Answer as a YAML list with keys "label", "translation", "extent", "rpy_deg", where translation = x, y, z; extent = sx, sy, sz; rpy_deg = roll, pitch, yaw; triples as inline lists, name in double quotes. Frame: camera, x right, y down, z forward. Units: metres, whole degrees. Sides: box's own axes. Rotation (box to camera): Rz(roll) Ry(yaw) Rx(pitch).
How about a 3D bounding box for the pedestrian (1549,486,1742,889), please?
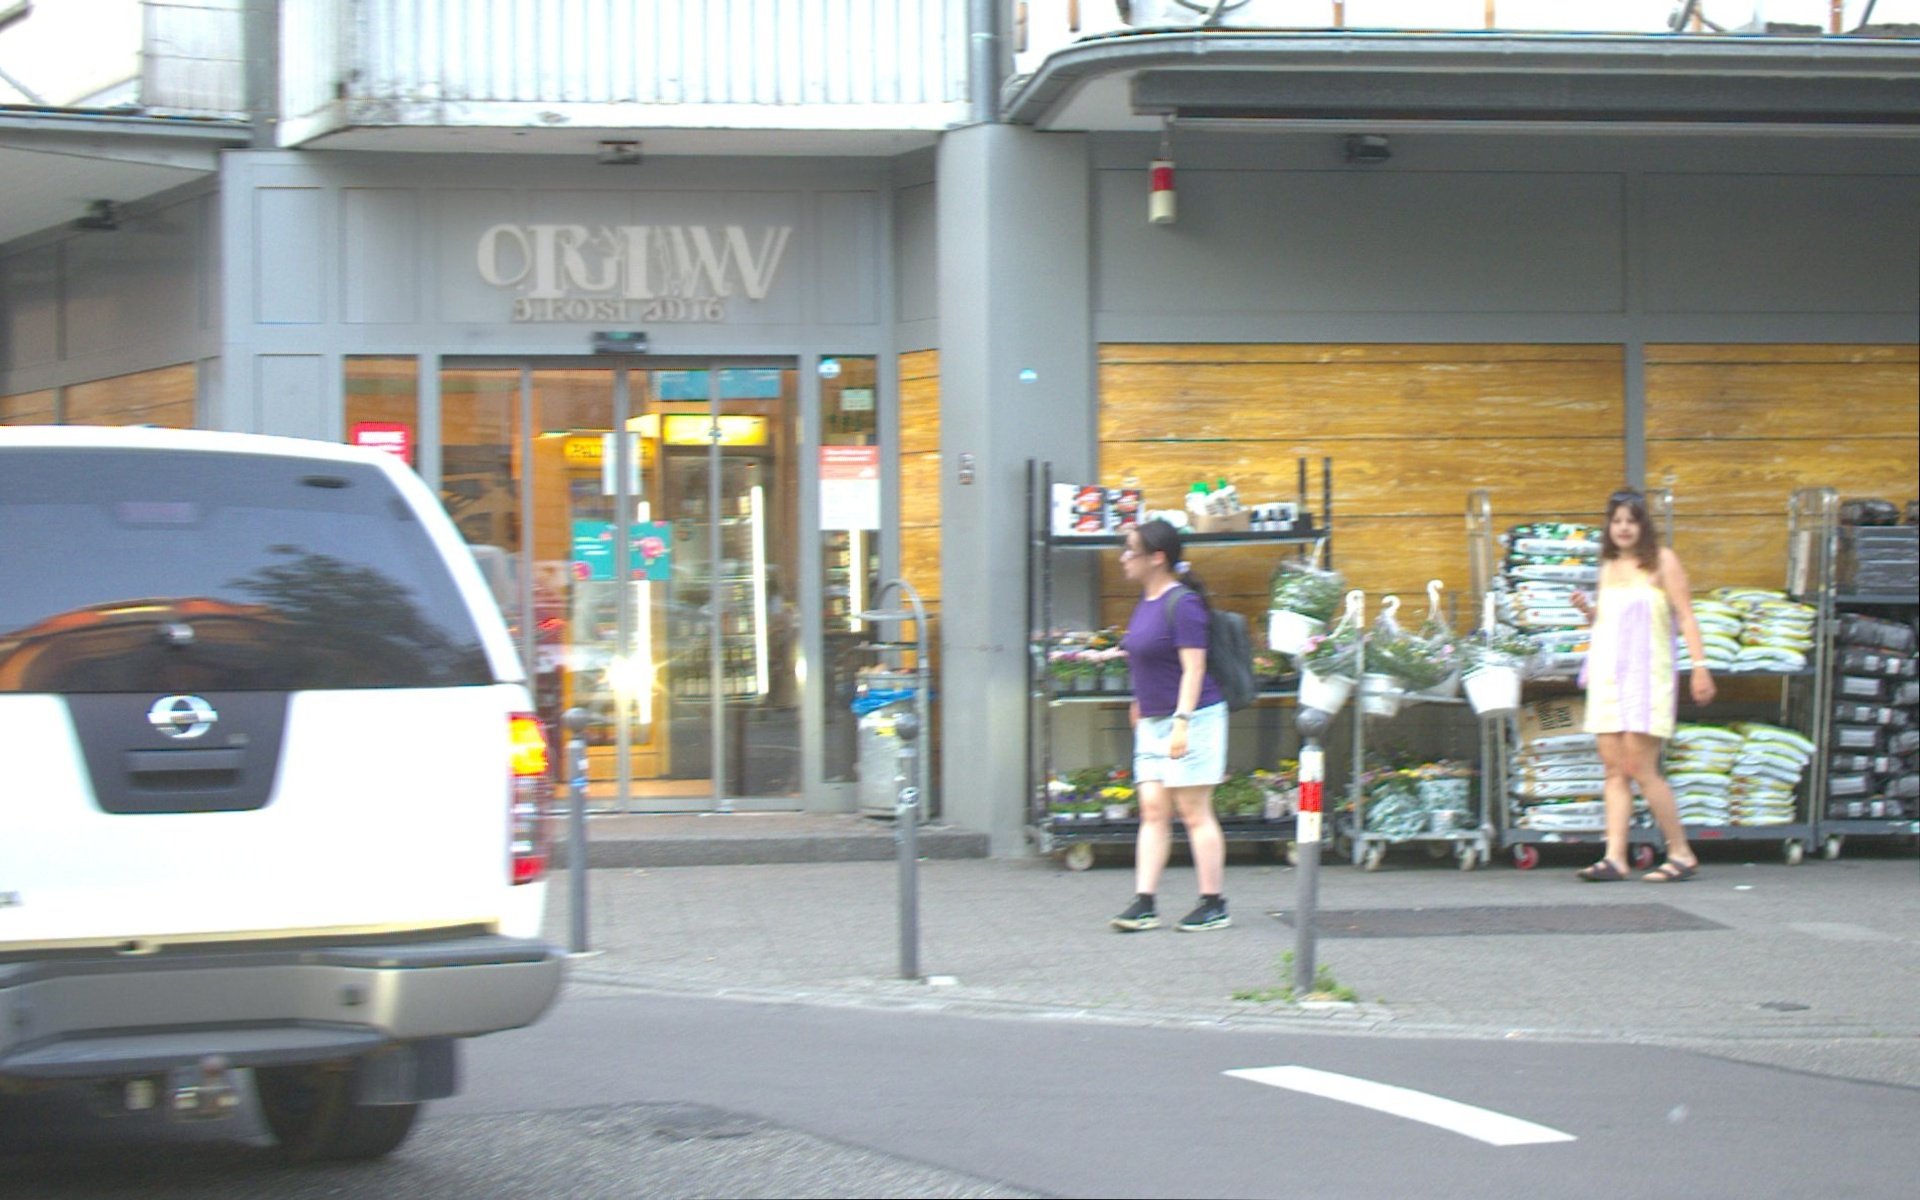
- label: "pedestrian"
  translation: [3.030, 0.378, 15.166]
  extent: [0.665, 1.720, 0.721]
  rpy_deg: [0, -1, 26]

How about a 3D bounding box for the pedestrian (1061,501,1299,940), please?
- label: "pedestrian"
  translation: [0.861, 0.455, 13.365]
  extent: [0.712, 1.646, 0.717]
  rpy_deg: [0, -1, 23]

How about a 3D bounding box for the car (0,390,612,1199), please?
- label: "car"
  translation: [-2.911, 0.429, 9.113]
  extent: [1.938, 1.804, 5.001]
  rpy_deg: [0, 1, -32]
